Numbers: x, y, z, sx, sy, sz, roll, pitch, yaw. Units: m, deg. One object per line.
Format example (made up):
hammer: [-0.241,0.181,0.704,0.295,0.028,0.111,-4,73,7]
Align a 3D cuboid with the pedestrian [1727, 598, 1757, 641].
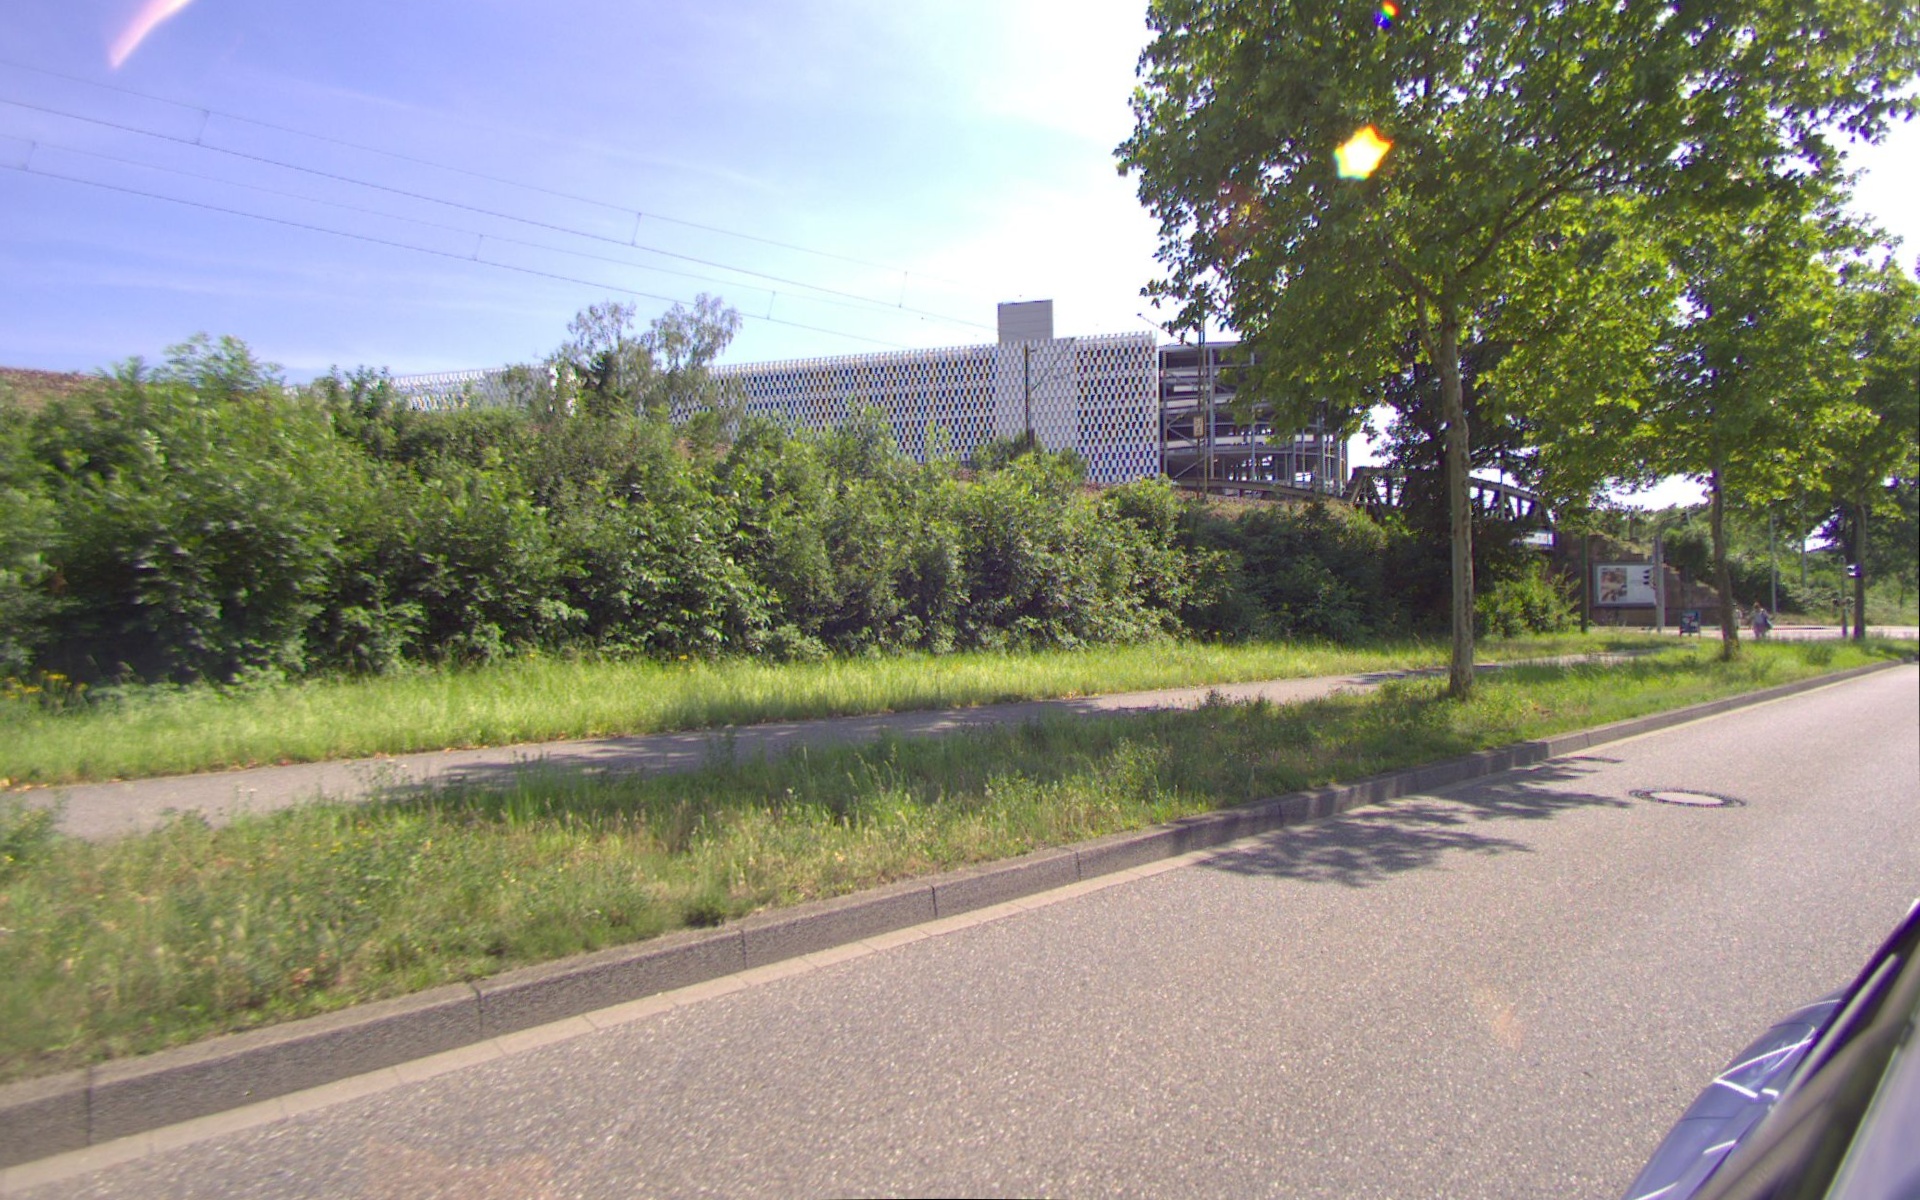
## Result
pedestrian: [29.457,0.741,38.130,0.764,1.600,0.730,0,-2,-41]

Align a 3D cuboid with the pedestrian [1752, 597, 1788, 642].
pedestrian: [29.766,0.708,37.181,0.764,1.632,0.869,0,-2,-41]
